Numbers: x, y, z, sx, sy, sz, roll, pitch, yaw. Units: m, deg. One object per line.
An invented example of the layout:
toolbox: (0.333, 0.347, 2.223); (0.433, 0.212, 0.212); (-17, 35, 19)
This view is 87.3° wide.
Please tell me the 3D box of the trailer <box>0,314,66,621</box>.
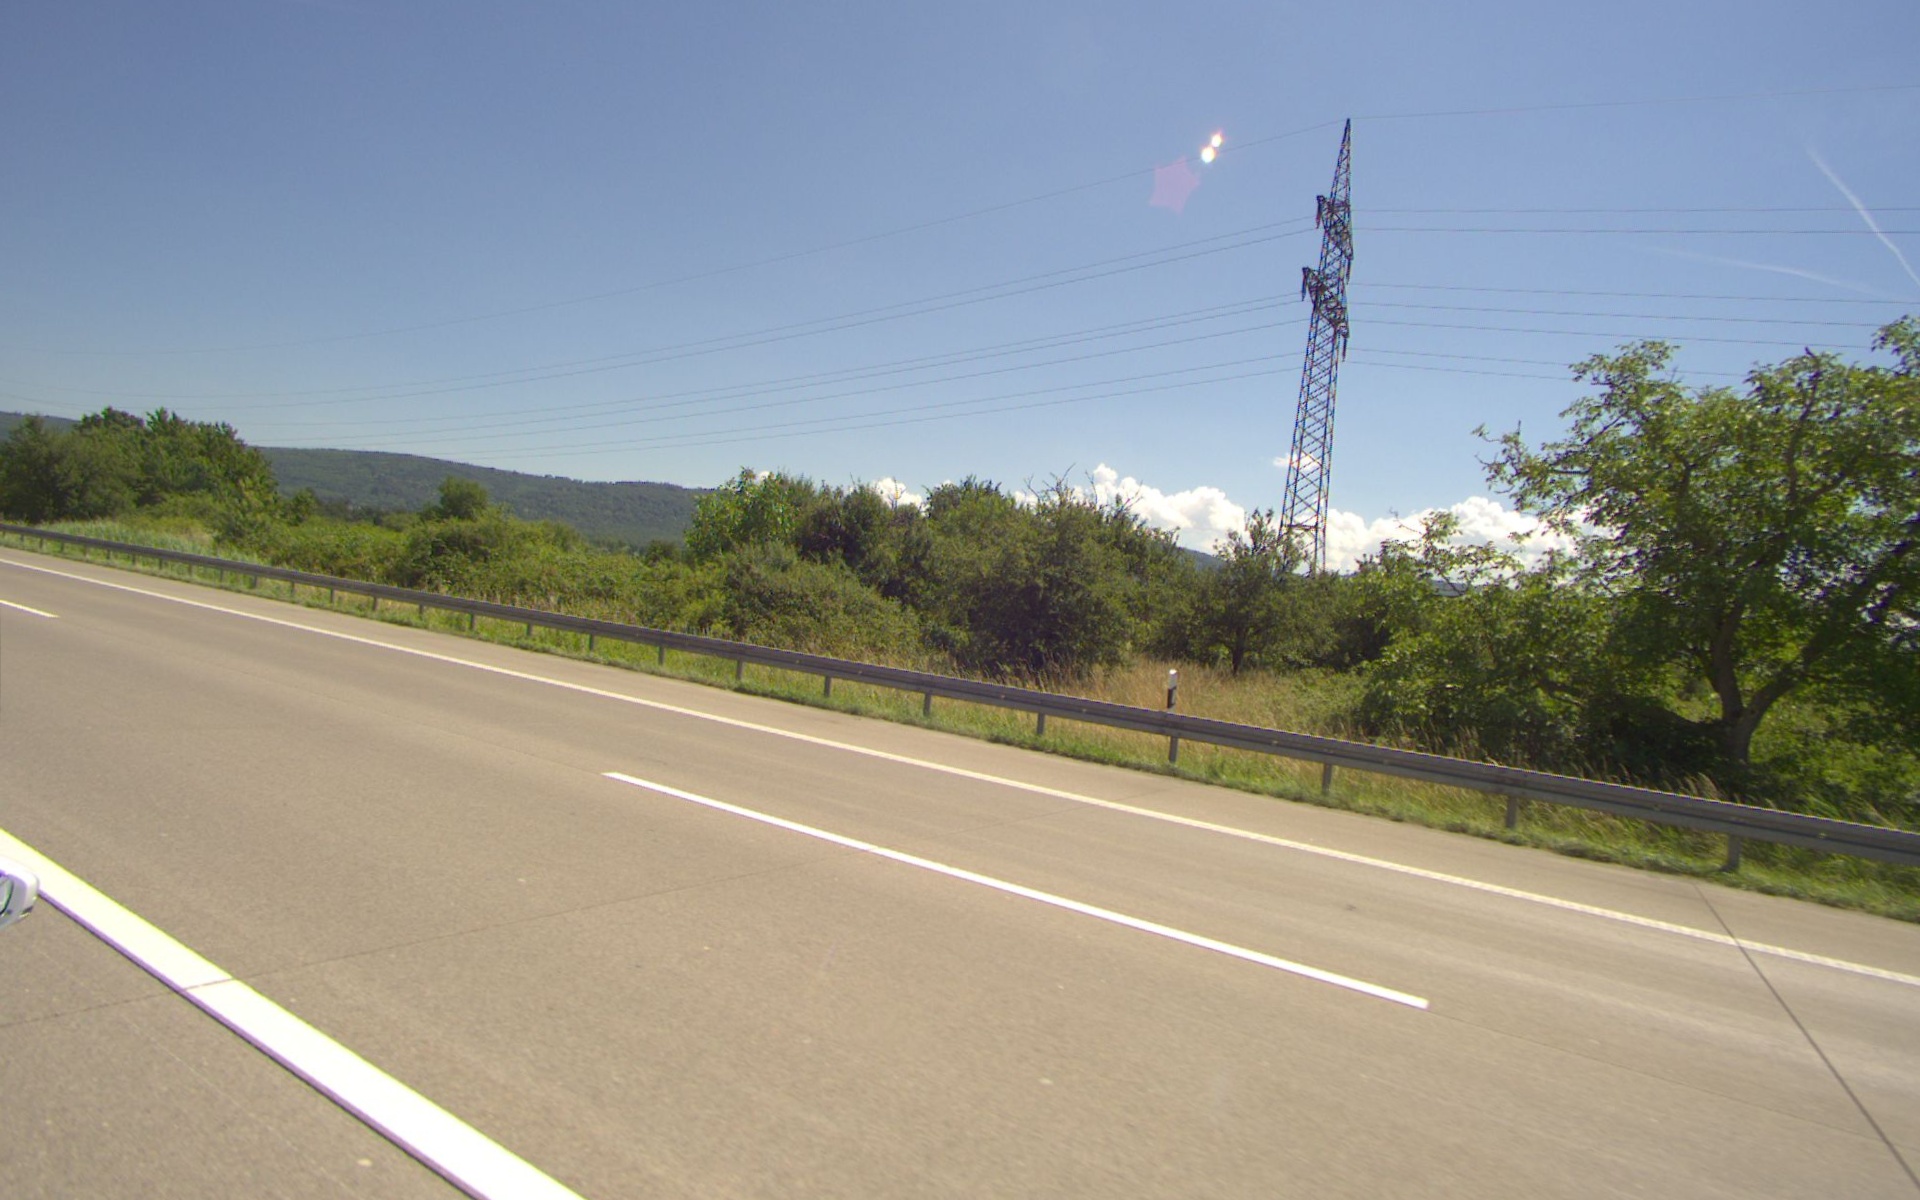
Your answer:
trailer: (-17.238, -2.281, 15.034); (10.200, 3.923, 2.586); (6, -1, 31)

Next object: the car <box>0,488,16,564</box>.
car: (-25.905, -2.129, 25.300); (3.933, 1.869, 1.999); (6, -3, 31)
